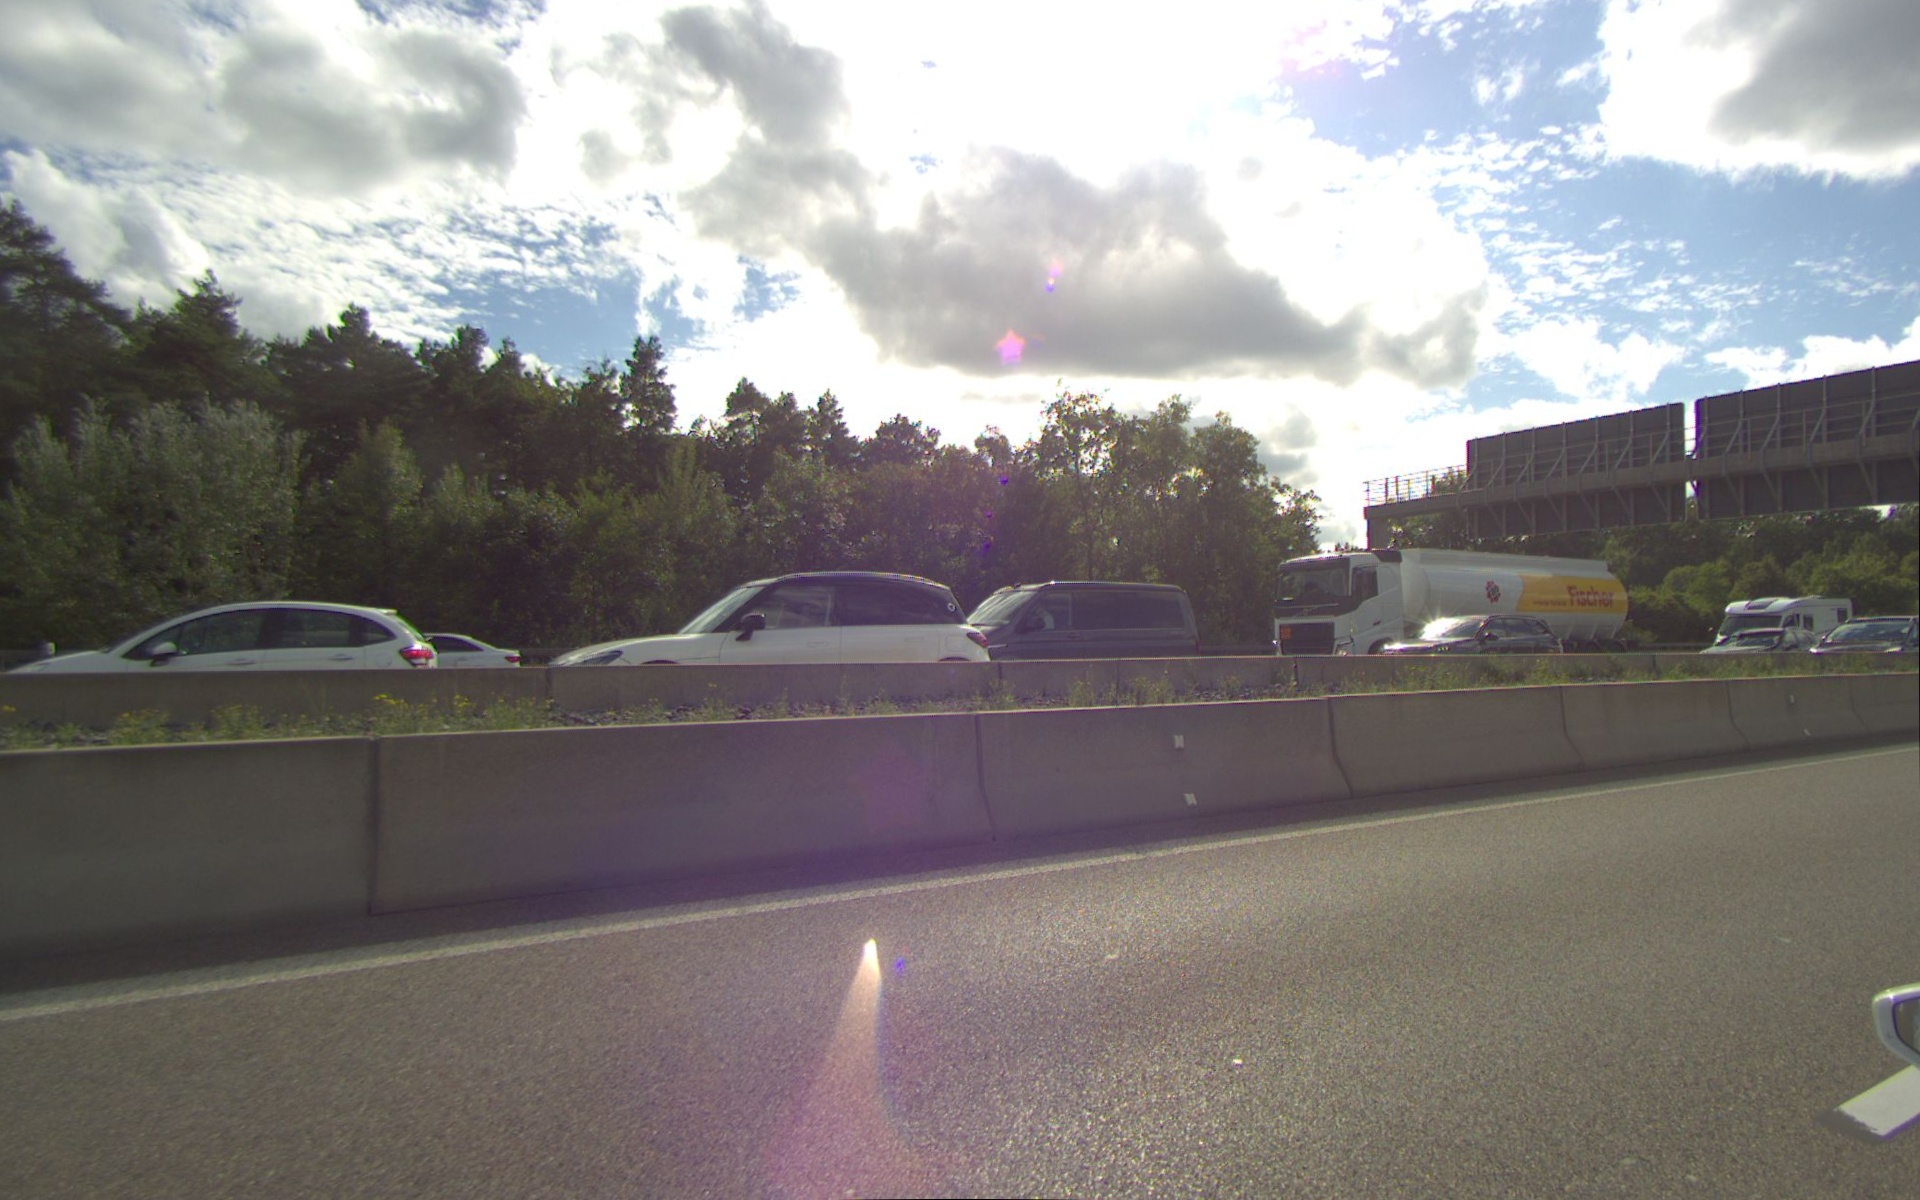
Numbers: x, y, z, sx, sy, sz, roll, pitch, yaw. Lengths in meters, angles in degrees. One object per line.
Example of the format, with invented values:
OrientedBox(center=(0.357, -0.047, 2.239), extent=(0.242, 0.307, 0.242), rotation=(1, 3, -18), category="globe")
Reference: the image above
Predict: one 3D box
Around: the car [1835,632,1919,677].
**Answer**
OrientedBox(center=(22.891, 1.259, 23.786), extent=(5.399, 0.940, 1.659), rotation=(1, 0, -30), category="car")

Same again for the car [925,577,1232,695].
OrientedBox(center=(1.986, 0.554, 16.363), extent=(4.728, 1.677, 1.997), rotation=(1, 0, -31), category="car")

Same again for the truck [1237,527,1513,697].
OrientedBox(center=(11.043, 0.344, 26.636), extent=(6.722, 3.952, 3.400), rotation=(1, 0, -30), category="truck")

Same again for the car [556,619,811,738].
OrientedBox(center=(-4.489, 1.204, 16.385), extent=(3.656, 1.677, 1.823), rotation=(1, 0, -31), category="car")

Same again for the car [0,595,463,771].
OrientedBox(center=(-7.678, 0.784, 10.660), extent=(4.194, 1.558, 1.823), rotation=(1, 0, -31), category="car")

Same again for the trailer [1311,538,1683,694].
OrientedBox(center=(16.281, 0.500, 29.798), extent=(13.106, 3.879, 3.395), rotation=(1, 0, -31), category="trailer")

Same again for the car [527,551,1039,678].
OrientedBox(center=(-1.548, 0.145, 9.390), extent=(4.436, 0.952, 1.635), rotation=(1, 0, -31), category="car")

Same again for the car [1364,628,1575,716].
OrientedBox(center=(10.892, 1.470, 21.394), extent=(4.608, 1.653, 1.791), rotation=(1, 0, -30), category="car")

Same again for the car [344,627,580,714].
OrientedBox(center=(-10.780, 1.478, 21.893), extent=(4.430, 1.677, 1.823), rotation=(1, 0, -31), category="car")

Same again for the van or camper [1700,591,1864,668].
OrientedBox(center=(31.054, 1.134, 37.864), extent=(7.310, 2.678, 2.314), rotation=(2, -1, -30), category="van or camper")
